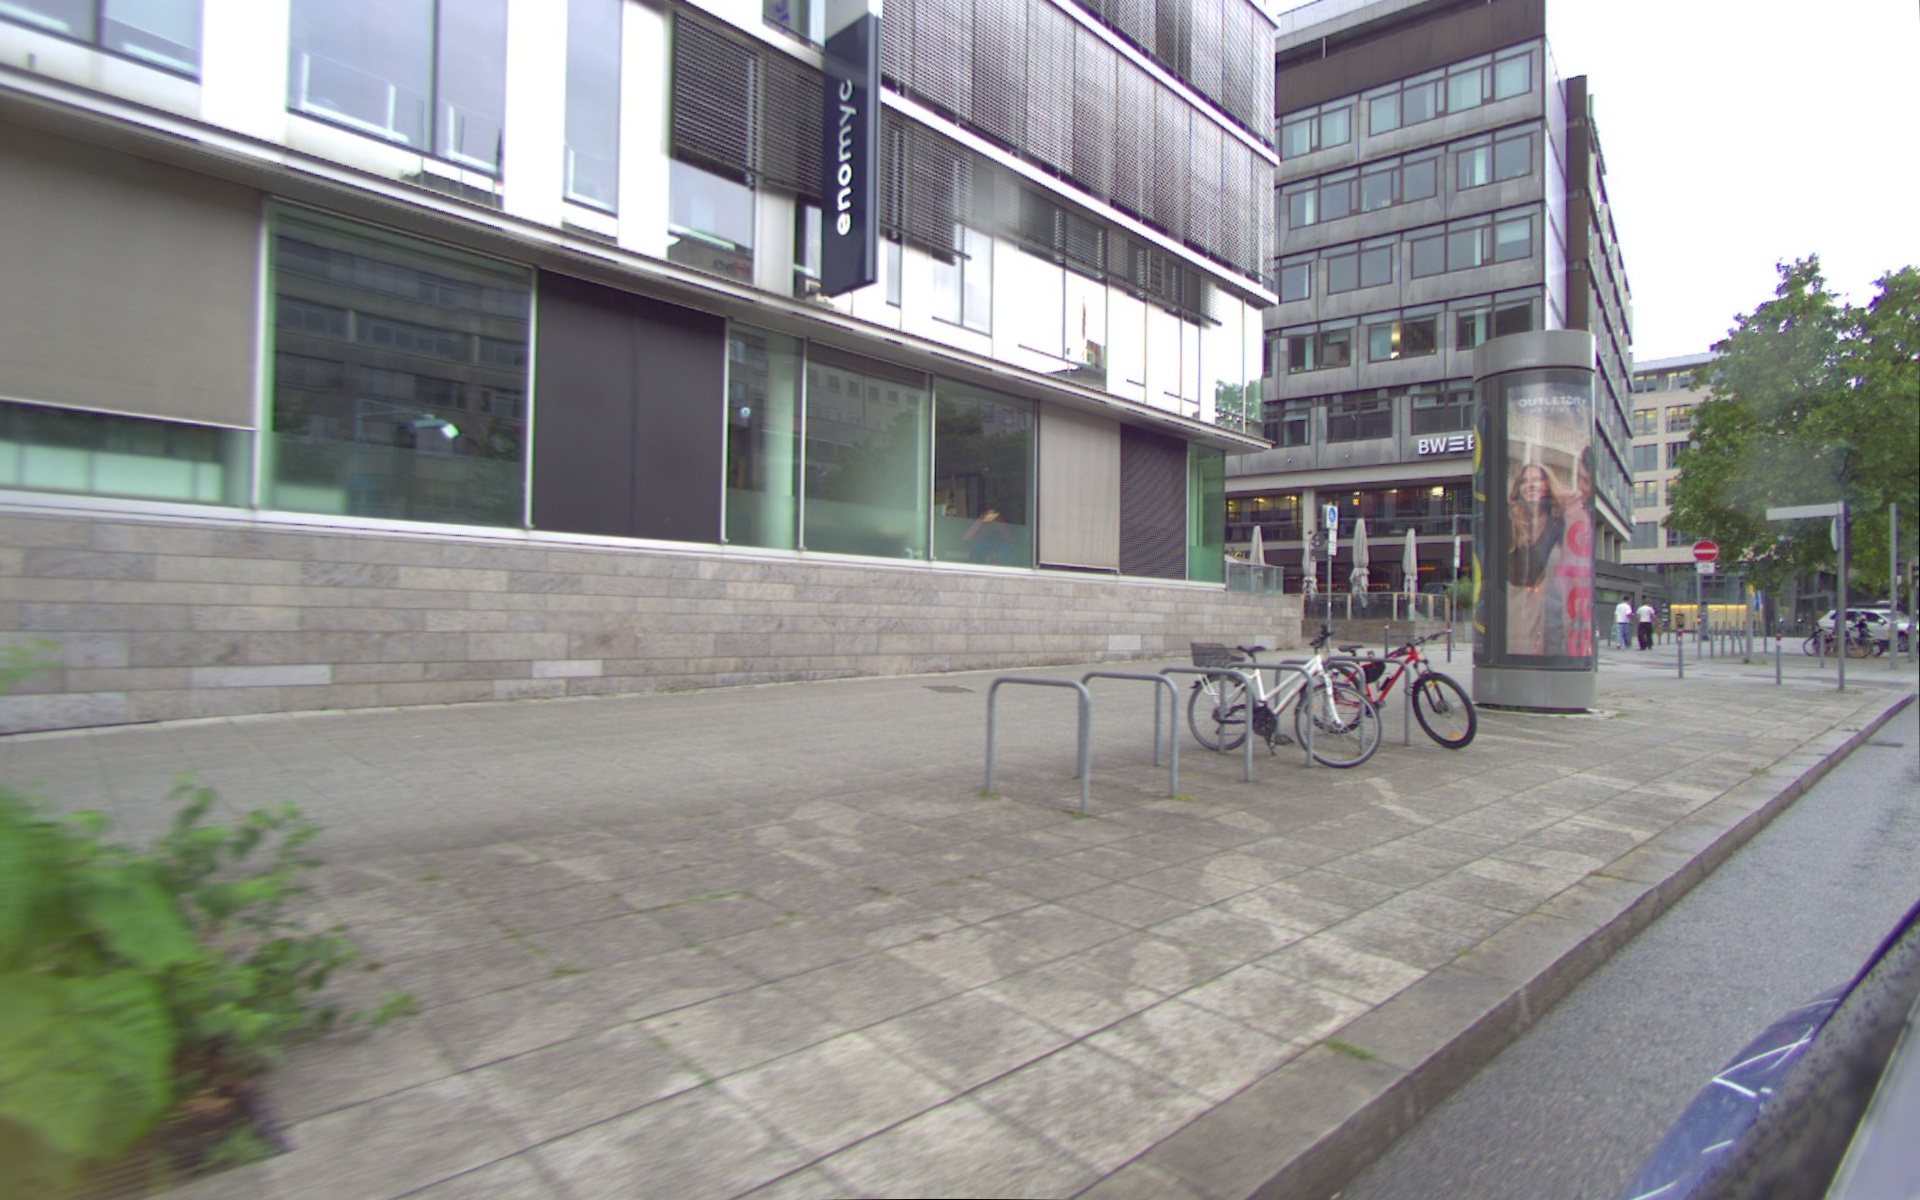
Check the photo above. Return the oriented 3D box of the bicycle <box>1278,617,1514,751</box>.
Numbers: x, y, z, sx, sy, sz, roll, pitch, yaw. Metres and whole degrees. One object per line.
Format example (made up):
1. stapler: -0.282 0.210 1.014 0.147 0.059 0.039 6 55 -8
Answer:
1. bicycle: 4.209 0.753 9.917 0.793 1.118 1.989 1 0 -37

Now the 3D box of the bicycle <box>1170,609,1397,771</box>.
1. bicycle: 2.756 0.710 8.817 0.648 1.212 1.841 1 0 -37

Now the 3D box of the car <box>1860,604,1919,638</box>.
1. car: 45.302 0.977 47.357 1.876 1.557 4.399 0 -1 -15

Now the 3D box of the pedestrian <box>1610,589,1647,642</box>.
1. pedestrian: 24.033 0.560 36.390 0.881 1.893 0.803 1 -2 -34

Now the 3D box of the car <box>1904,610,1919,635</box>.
1. car: 57.193 1.288 58.127 1.673 1.442 4.068 0 -1 -12

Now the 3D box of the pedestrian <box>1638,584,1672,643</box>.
1. pedestrian: 24.716 0.469 35.992 0.740 2.065 0.850 1 -2 -43

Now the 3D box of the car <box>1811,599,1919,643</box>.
1. car: 37.279 0.828 40.467 1.876 1.671 4.812 0 -1 -12

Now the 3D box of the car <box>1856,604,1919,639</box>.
1. car: 43.368 0.958 45.412 1.876 1.557 4.365 0 -1 -15

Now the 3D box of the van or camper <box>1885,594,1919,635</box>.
1. van or camper: 59.794 0.855 60.640 2.267 2.479 6.276 0 -1 -12

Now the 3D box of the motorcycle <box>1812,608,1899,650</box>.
1. motorcycle: 30.278 0.970 34.239 0.664 1.375 2.090 1 -2 -34
